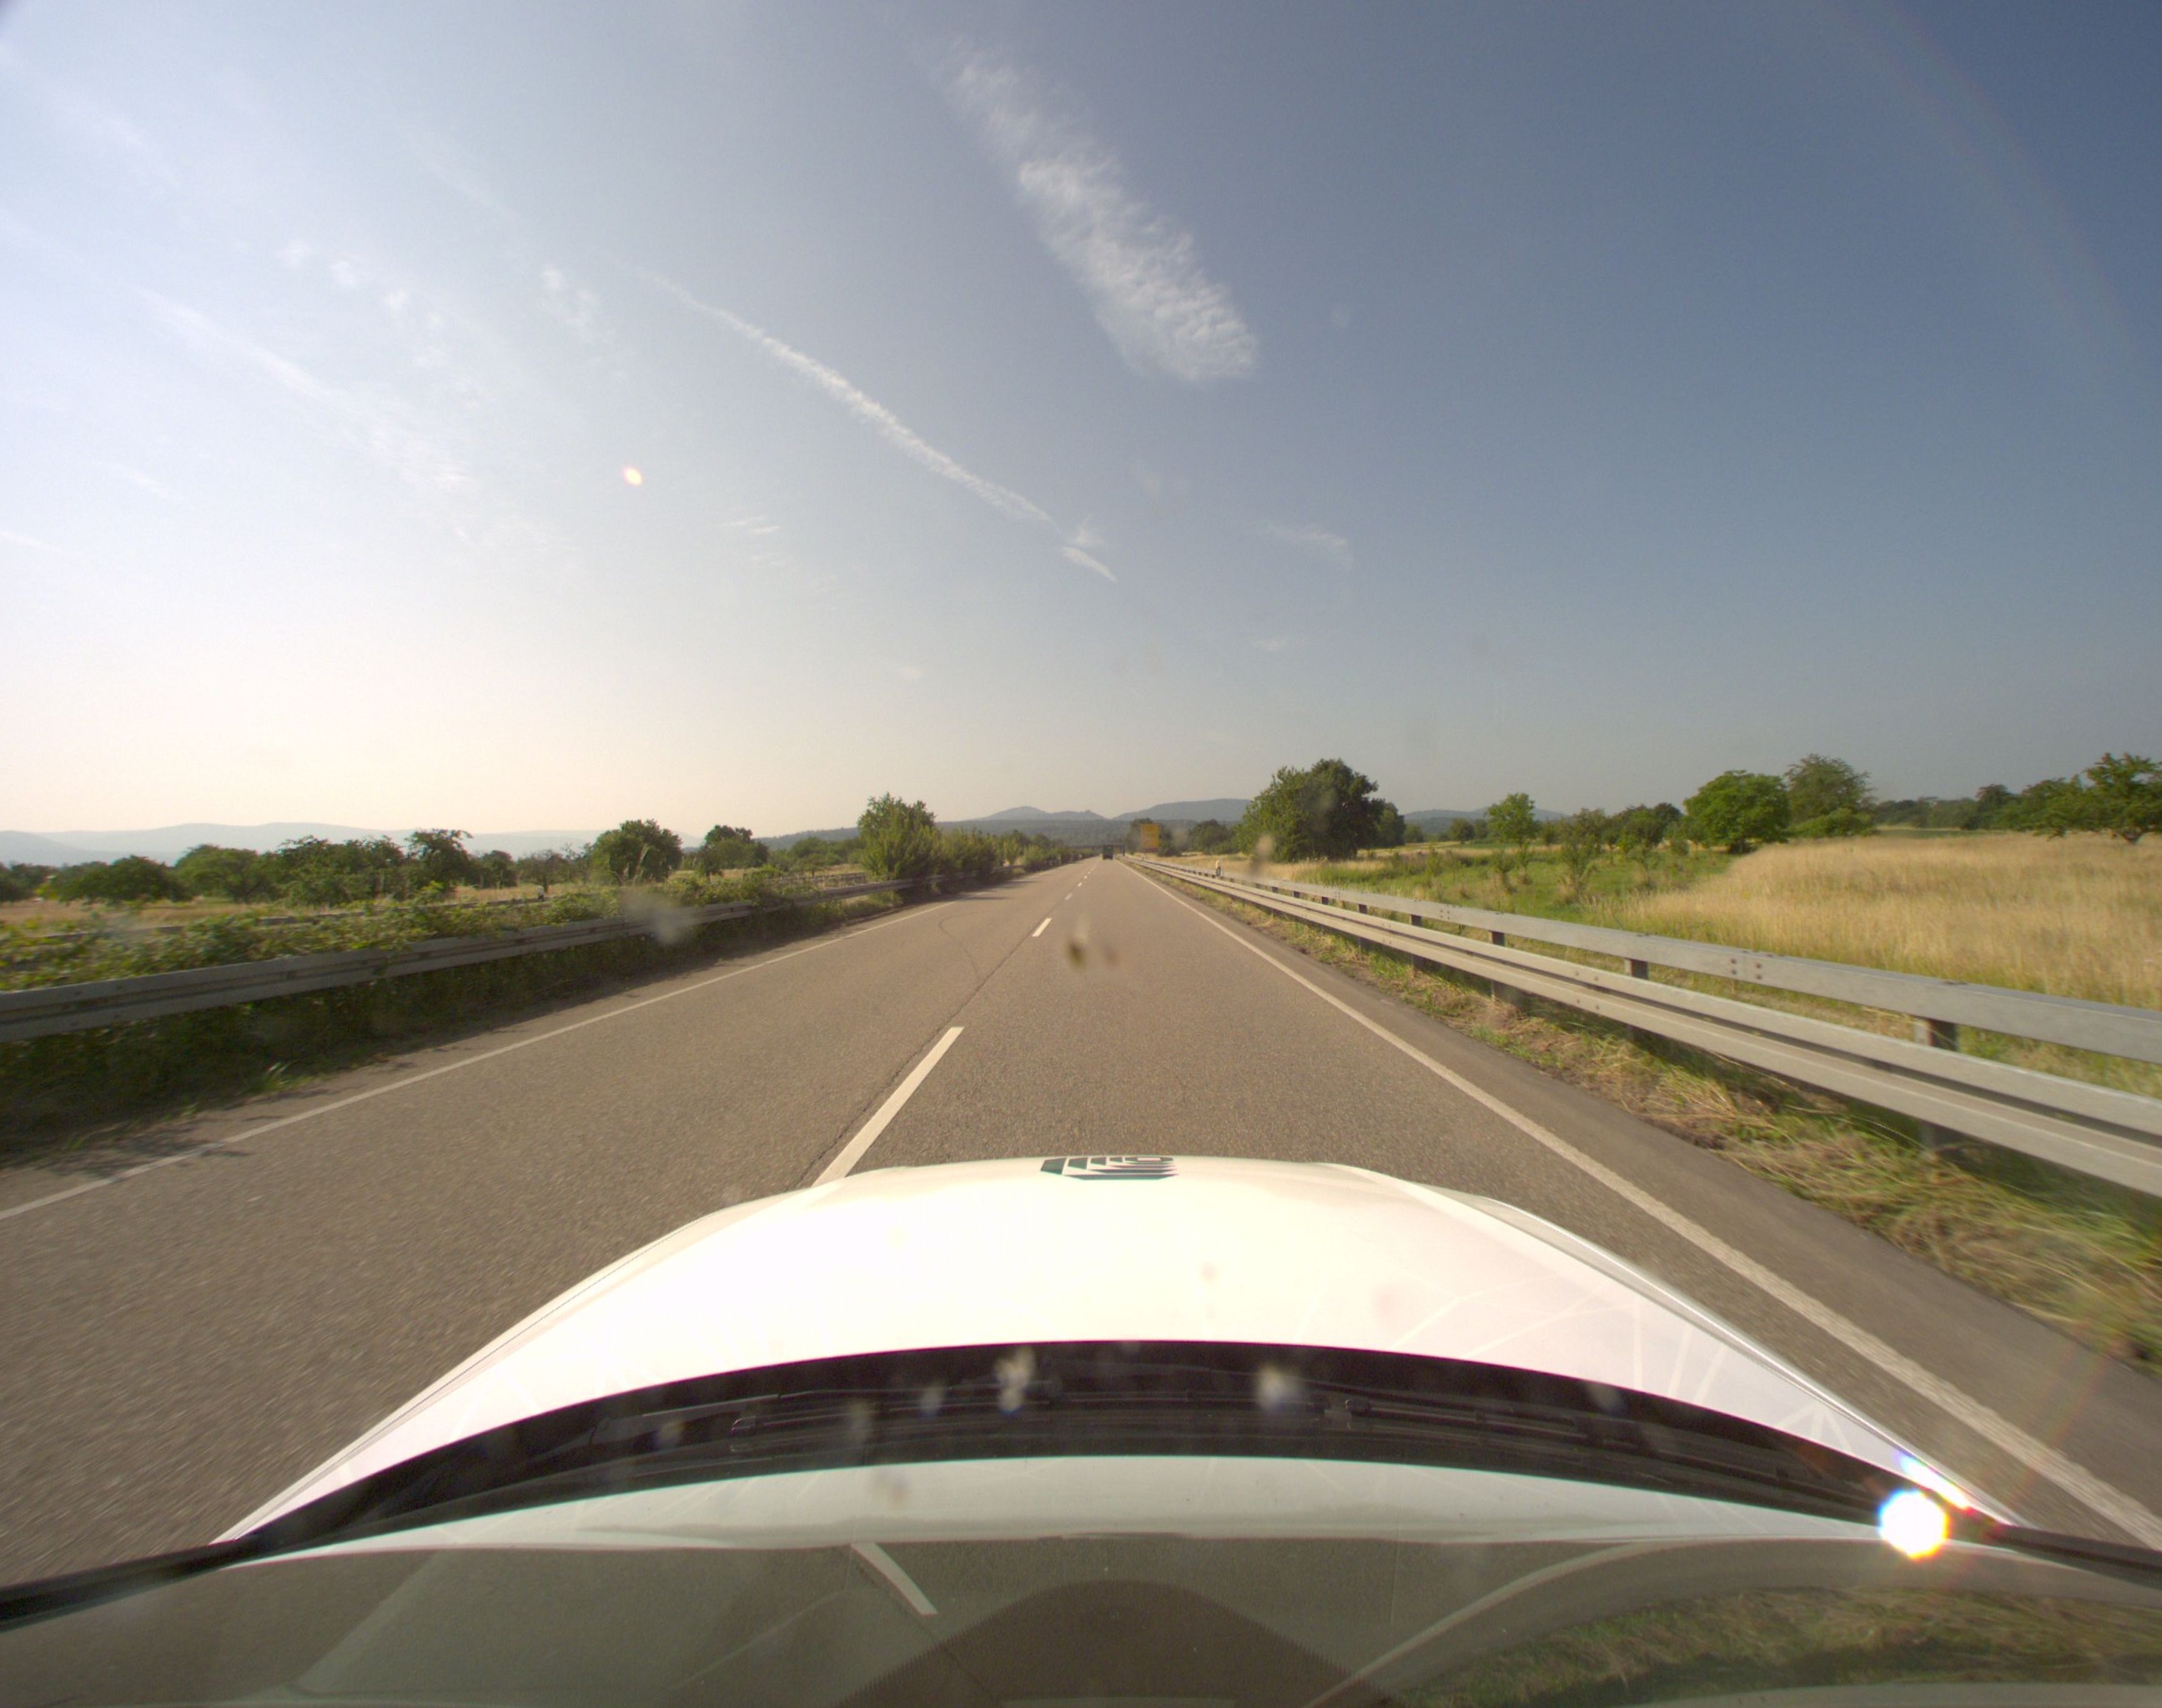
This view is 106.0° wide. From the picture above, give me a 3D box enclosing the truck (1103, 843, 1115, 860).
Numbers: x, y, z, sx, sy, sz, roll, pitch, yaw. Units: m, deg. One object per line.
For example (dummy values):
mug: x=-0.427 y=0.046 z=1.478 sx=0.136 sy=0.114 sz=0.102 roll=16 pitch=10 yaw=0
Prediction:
truck: x=6.902 y=-0.753 z=200.544 sx=2.711 sy=3.965 sz=10.422 roll=0 pitch=1 yaw=2
